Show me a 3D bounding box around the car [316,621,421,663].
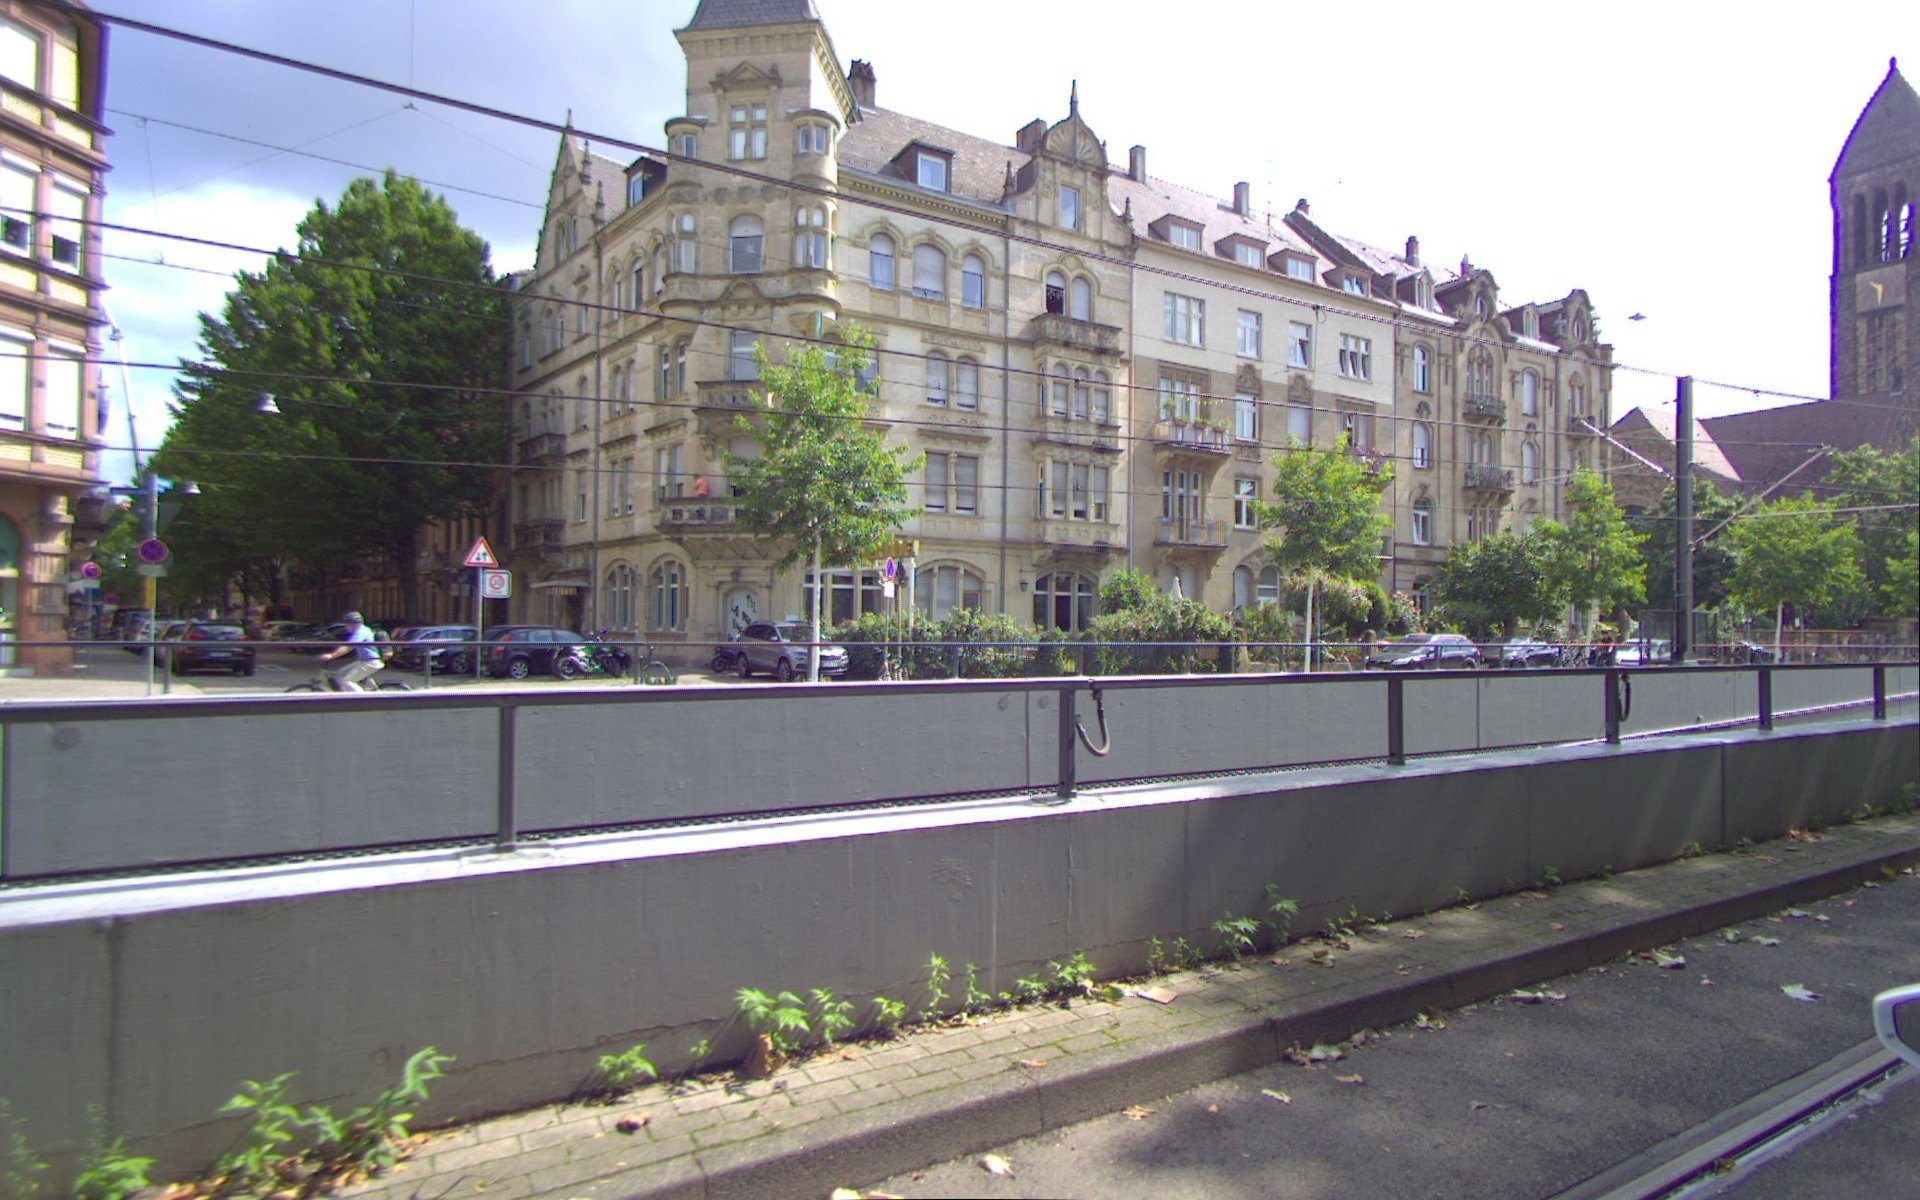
[{"bbox_3d":[-25.122,1.765,42.690,3.739,1.723,1.668,2,-2,-35],"label":"car"}]

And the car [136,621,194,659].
[{"bbox_3d":[-35.871,1.796,45.309,1.913,1.639,3.953,2,-2,-40],"label":"car"}]

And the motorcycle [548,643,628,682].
[{"bbox_3d":[-10.052,1.665,27.183,1.986,1.007,0.517,2,-2,-42],"label":"motorcycle"}]

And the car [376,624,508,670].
[{"bbox_3d":[-19.013,1.698,36.938,3.967,1.515,1.977,-1,-1,-41],"label":"car"}]

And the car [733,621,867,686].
[{"bbox_3d":[-4.493,1.419,27.786,2.019,1.627,3.919,2,-2,-38],"label":"car"}]

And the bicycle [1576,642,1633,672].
[{"bbox_3d":[22.382,1.974,34.865,2.115,0.991,0.772,1,-3,-30],"label":"bicycle"}]

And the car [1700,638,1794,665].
[{"bbox_3d":[45.272,2.949,57.852,1.703,1.483,3.945,1,-2,-29],"label":"car"}]

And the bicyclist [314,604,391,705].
[{"bbox_3d":[-9.382,0.842,15.546,0.966,1.498,0.735,1,-3,-30],"label":"bicyclist"}]

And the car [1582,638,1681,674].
[{"bbox_3d":[26.955,2.220,40.311,4.265,1.345,1.742,2,-2,-32],"label":"car"}]

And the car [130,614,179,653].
[{"bbox_3d":[-42.646,1.752,53.167,1.913,1.967,3.953,2,-2,-40],"label":"car"}]

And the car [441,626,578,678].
[{"bbox_3d":[-13.845,1.580,30.958,3.490,1.512,1.662,2,-2,-43],"label":"car"}]

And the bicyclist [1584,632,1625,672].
[{"bbox_3d":[22.360,1.790,34.842,1.036,1.355,0.764,1,-3,-29],"label":"bicyclist"}]

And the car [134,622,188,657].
[{"bbox_3d":[-38.797,1.904,48.747,1.913,1.639,3.953,2,-2,-40],"label":"car"}]

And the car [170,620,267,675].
[{"bbox_3d":[-22.544,1.420,30.485,1.912,1.555,3.950,3,-3,-42],"label":"car"}]

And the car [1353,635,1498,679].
[{"bbox_3d":[15.079,1.805,32.501,4.669,1.345,1.940,1,-2,-30],"label":"car"}]

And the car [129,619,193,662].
[{"bbox_3d":[-32.270,1.612,40.528,1.913,1.639,3.953,2,-2,-40],"label":"car"}]

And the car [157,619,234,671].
[{"bbox_3d":[-26.451,1.533,34.720,1.913,1.697,3.953,2,-2,-40],"label":"car"}]

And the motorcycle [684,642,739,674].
[{"bbox_3d":[-7.407,1.737,29.981,1.564,0.935,0.492,1,-1,-12],"label":"motorcycle"}]

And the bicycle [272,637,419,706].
[{"bbox_3d":[-9.438,1.081,15.501,1.876,1.008,0.722,1,-3,-31],"label":"bicycle"}]

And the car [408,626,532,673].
[{"bbox_3d":[-16.785,1.668,34.476,3.490,1.505,1.663,2,-2,-42],"label":"car"}]

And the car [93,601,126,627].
[{"bbox_3d":[-66.739,1.097,78.890,1.912,1.967,3.954,2,-2,-40],"label":"car"}]

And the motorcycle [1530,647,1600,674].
[{"bbox_3d":[22.296,2.222,37.019,1.401,0.953,1.752,1,-4,-31],"label":"motorcycle"}]

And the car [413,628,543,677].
[{"bbox_3d":[-15.707,1.689,32.839,3.493,1.512,1.661,2,-2,-45],"label":"car"}]

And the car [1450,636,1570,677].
[{"bbox_3d":[19.301,1.935,35.218,4.055,1.345,2.009,1,-2,-32],"label":"car"}]

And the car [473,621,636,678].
[{"bbox_3d":[-11.814,1.425,29.440,4.109,1.540,1.662,2,-2,-43],"label":"car"}]
